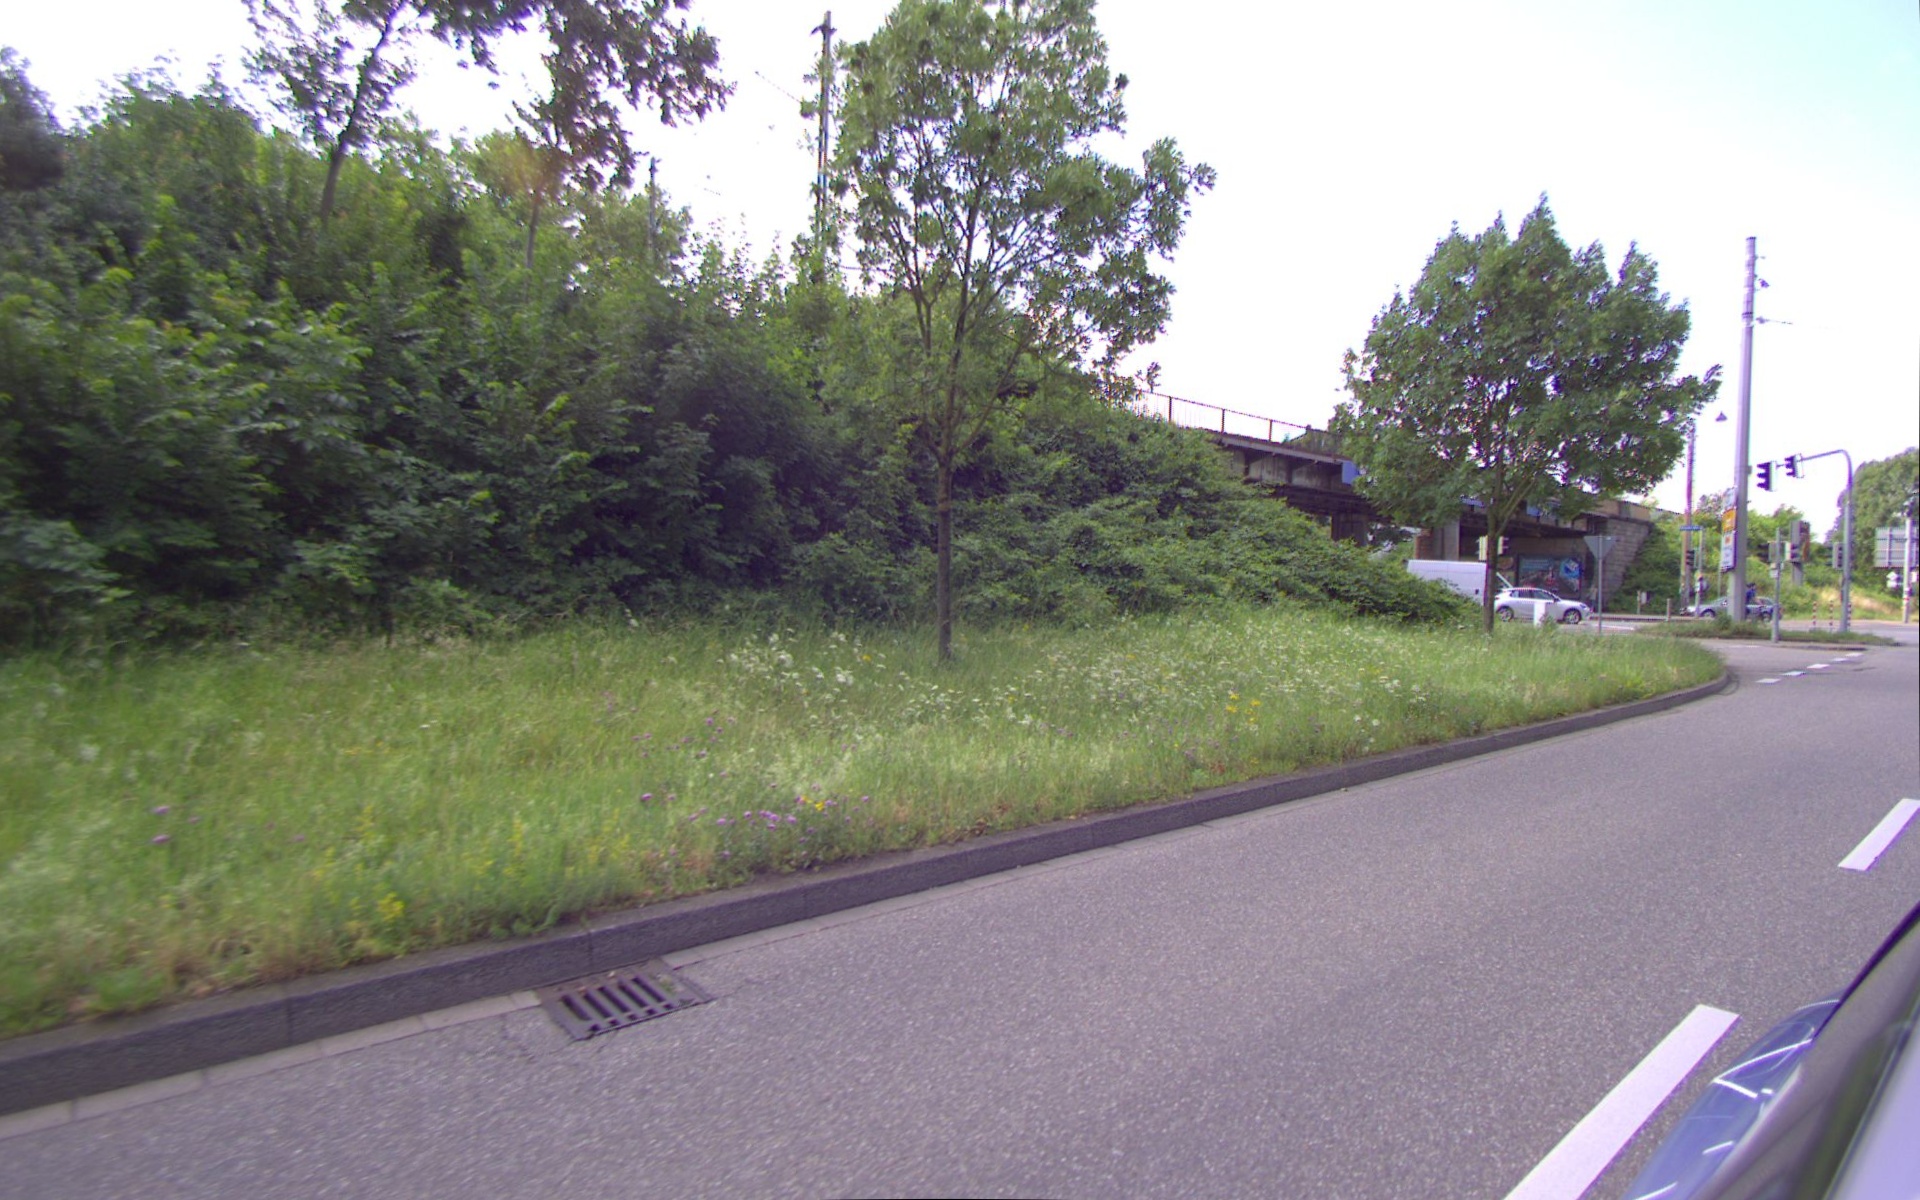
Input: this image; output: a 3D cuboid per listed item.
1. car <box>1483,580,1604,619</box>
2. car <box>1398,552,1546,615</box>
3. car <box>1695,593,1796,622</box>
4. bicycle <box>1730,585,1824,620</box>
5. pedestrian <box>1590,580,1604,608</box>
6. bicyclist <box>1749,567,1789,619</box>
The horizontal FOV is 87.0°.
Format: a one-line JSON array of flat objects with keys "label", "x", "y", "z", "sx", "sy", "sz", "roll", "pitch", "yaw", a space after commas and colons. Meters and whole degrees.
[{"label": "car", "x": 24.018, "y": -0.057, "z": 41.762, "sx": 3.939, "sy": 1.494, "sz": 1.702, "roll": 1, "pitch": 2, "yaw": 13}, {"label": "car", "x": 22.864, "y": -0.738, "z": 45.436, "sx": 5.546, "sy": 2.555, "sz": 2.257, "roll": -1, "pitch": 5, "yaw": 16}, {"label": "car", "x": 43.091, "y": 0.417, "z": 55.621, "sx": 3.941, "sy": 1.482, "sz": 1.765, "roll": -2, "pitch": 0, "yaw": 15}, {"label": "bicycle", "x": 27.574, "y": 0.077, "z": 34.193, "sx": 2.291, "sy": 1.106, "sz": 0.840, "roll": 0, "pitch": 4, "yaw": 22}, {"label": "pedestrian", "x": 39.265, "y": -0.388, "z": 62.390, "sx": 0.606, "sy": 1.671, "sz": 0.682, "roll": 0, "pitch": 3, "yaw": 41}, {"label": "bicyclist", "x": 27.415, "y": -0.235, "z": 34.291, "sx": 0.814, "sy": 1.698, "sz": 0.840, "roll": 0, "pitch": 4, "yaw": 21}]
